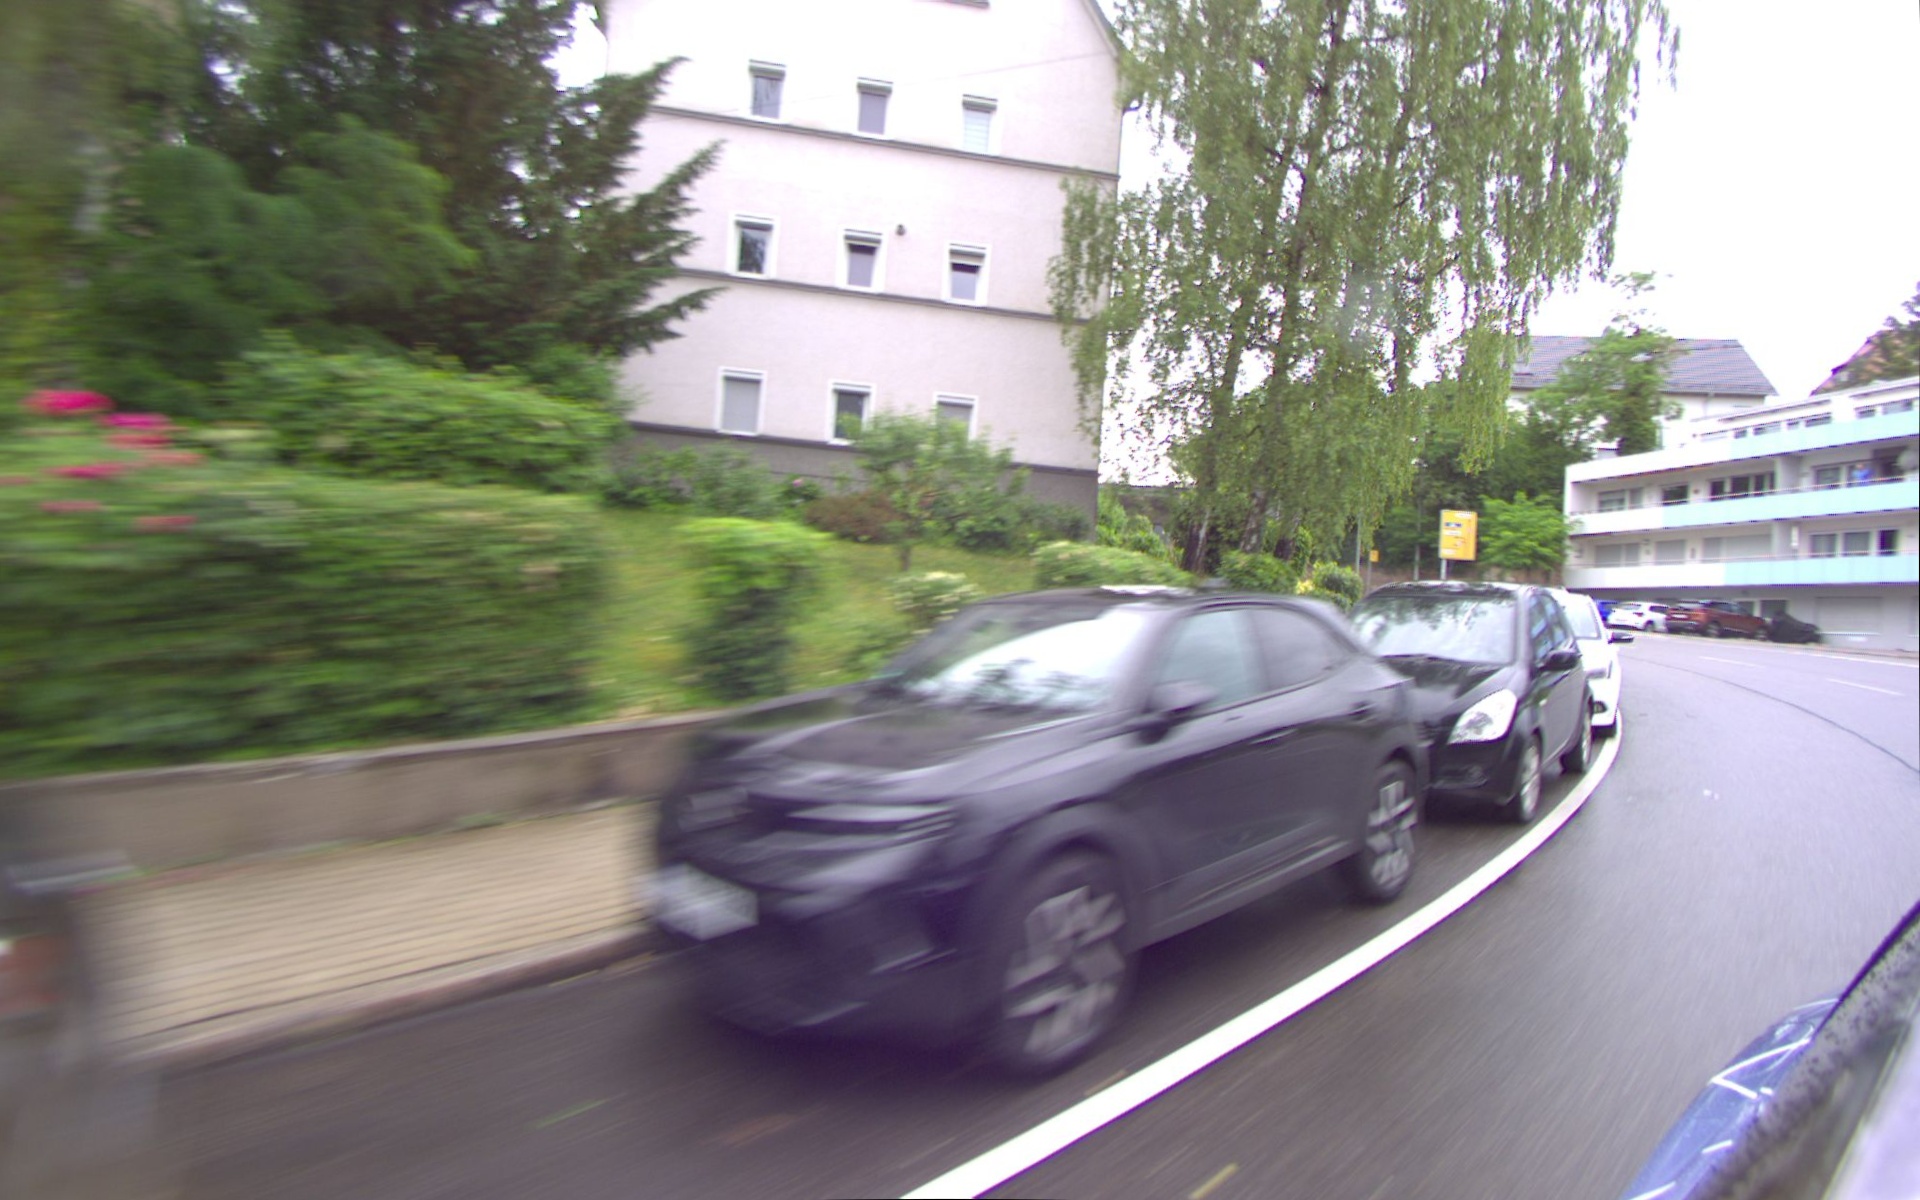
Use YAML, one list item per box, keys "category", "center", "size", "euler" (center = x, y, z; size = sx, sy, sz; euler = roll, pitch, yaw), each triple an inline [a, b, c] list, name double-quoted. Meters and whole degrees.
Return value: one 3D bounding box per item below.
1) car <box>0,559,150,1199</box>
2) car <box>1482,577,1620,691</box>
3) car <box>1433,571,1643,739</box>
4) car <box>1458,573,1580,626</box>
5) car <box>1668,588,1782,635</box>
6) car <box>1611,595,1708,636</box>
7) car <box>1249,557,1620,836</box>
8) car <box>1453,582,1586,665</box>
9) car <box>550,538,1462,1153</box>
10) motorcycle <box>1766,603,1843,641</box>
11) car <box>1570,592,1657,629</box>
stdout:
- category: "car"
  center: [-3.261, 0.681, 1.110]
  size: [3.671, 1.489, 1.687]
  euler: [1, 3, -39]
- category: "car"
  center: [9.391, 0.444, 16.344]
  size: [1.614, 1.538, 4.286]
  euler: [2, 2, 27]
- category: "car"
  center: [6.742, 0.480, 11.676]
  size: [1.720, 1.482, 3.983]
  euler: [5, 3, 33]
- category: "car"
  center: [20.404, -0.074, 37.169]
  size: [1.796, 1.626, 4.290]
  euler: [4, 2, -3]
- category: "car"
  center: [31.696, 0.479, 41.929]
  size: [3.852, 1.569, 1.720]
  euler: [4, 1, -17]
- category: "car"
  center: [31.426, 0.669, 45.496]
  size: [3.370, 1.462, 1.712]
  euler: [5, 1, -14]
- category: "car"
  center: [3.752, 0.529, 7.687]
  size: [1.619, 1.523, 3.552]
  euler: [5, 4, 40]
- category: "car"
  center: [11.444, 0.396, 20.978]
  size: [1.774, 1.464, 4.079]
  euler: [1, 2, 20]
- category: "car"
  center: [0.544, 0.572, 4.476]
  size: [4.002, 1.452, 1.717]
  euler: [0, 4, -44]
- category: "motorcycle"
  center: [35.288, 0.906, 42.344]
  size: [0.562, 1.326, 2.340]
  euler: [2, 4, -30]
- category: "car"
  center: [31.048, 0.493, 48.101]
  size: [3.369, 1.407, 1.642]
  euler: [5, 2, -19]
